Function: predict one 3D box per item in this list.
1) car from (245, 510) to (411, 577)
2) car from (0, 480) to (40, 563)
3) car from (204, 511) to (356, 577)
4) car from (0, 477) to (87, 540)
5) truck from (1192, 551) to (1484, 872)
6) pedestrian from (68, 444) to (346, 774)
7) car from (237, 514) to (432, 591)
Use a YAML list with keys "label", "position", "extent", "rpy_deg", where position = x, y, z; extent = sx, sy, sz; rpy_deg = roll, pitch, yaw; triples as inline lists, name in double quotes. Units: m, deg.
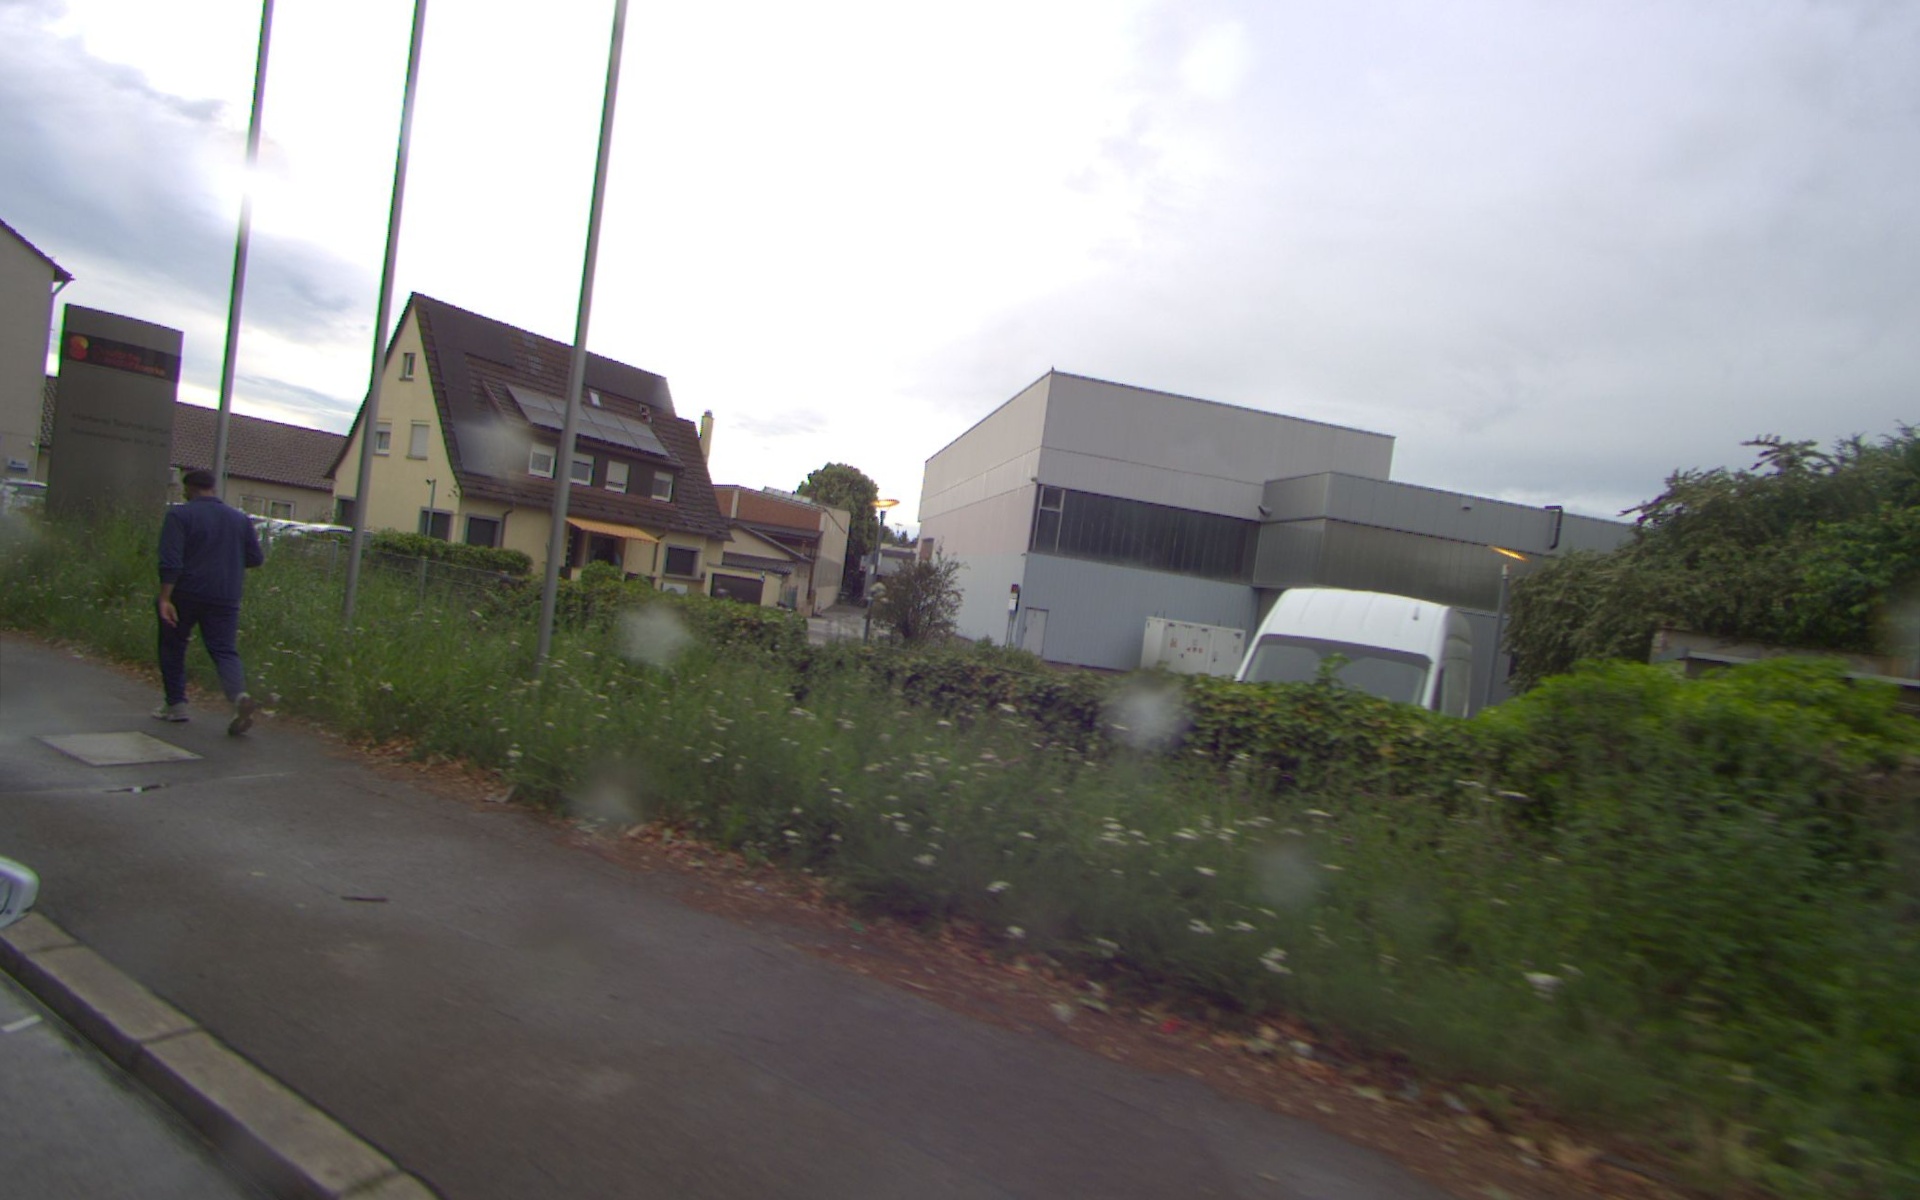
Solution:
- label: "car"
  position: [-20.445, -1.797, 32.706]
  extent: [1.966, 1.485, 3.997]
  rpy_deg: [6, -3, 30]
- label: "car"
  position: [-23.189, -2.035, 21.797]
  extent: [1.967, 1.788, 4.311]
  rpy_deg: [6, -2, 31]
- label: "car"
  position: [-22.859, -1.856, 33.968]
  extent: [1.728, 1.549, 3.775]
  rpy_deg: [7, -2, 27]
- label: "car"
  position: [-28.701, -2.847, 30.830]
  extent: [3.567, 1.548, 1.812]
  rpy_deg: [6, -2, 31]
- label: "truck"
  position: [4.713, 1.238, 11.758]
  extent: [2.010, 2.667, 5.858]
  rpy_deg: [6, -3, 30]
- label: "pedestrian"
  position: [-4.838, 0.056, 6.500]
  extent: [0.886, 1.920, 1.044]
  rpy_deg: [6, 0, 31]
- label: "car"
  position: [-18.477, -1.357, 29.943]
  extent: [1.838, 1.646, 4.510]
  rpy_deg: [7, 0, 31]
